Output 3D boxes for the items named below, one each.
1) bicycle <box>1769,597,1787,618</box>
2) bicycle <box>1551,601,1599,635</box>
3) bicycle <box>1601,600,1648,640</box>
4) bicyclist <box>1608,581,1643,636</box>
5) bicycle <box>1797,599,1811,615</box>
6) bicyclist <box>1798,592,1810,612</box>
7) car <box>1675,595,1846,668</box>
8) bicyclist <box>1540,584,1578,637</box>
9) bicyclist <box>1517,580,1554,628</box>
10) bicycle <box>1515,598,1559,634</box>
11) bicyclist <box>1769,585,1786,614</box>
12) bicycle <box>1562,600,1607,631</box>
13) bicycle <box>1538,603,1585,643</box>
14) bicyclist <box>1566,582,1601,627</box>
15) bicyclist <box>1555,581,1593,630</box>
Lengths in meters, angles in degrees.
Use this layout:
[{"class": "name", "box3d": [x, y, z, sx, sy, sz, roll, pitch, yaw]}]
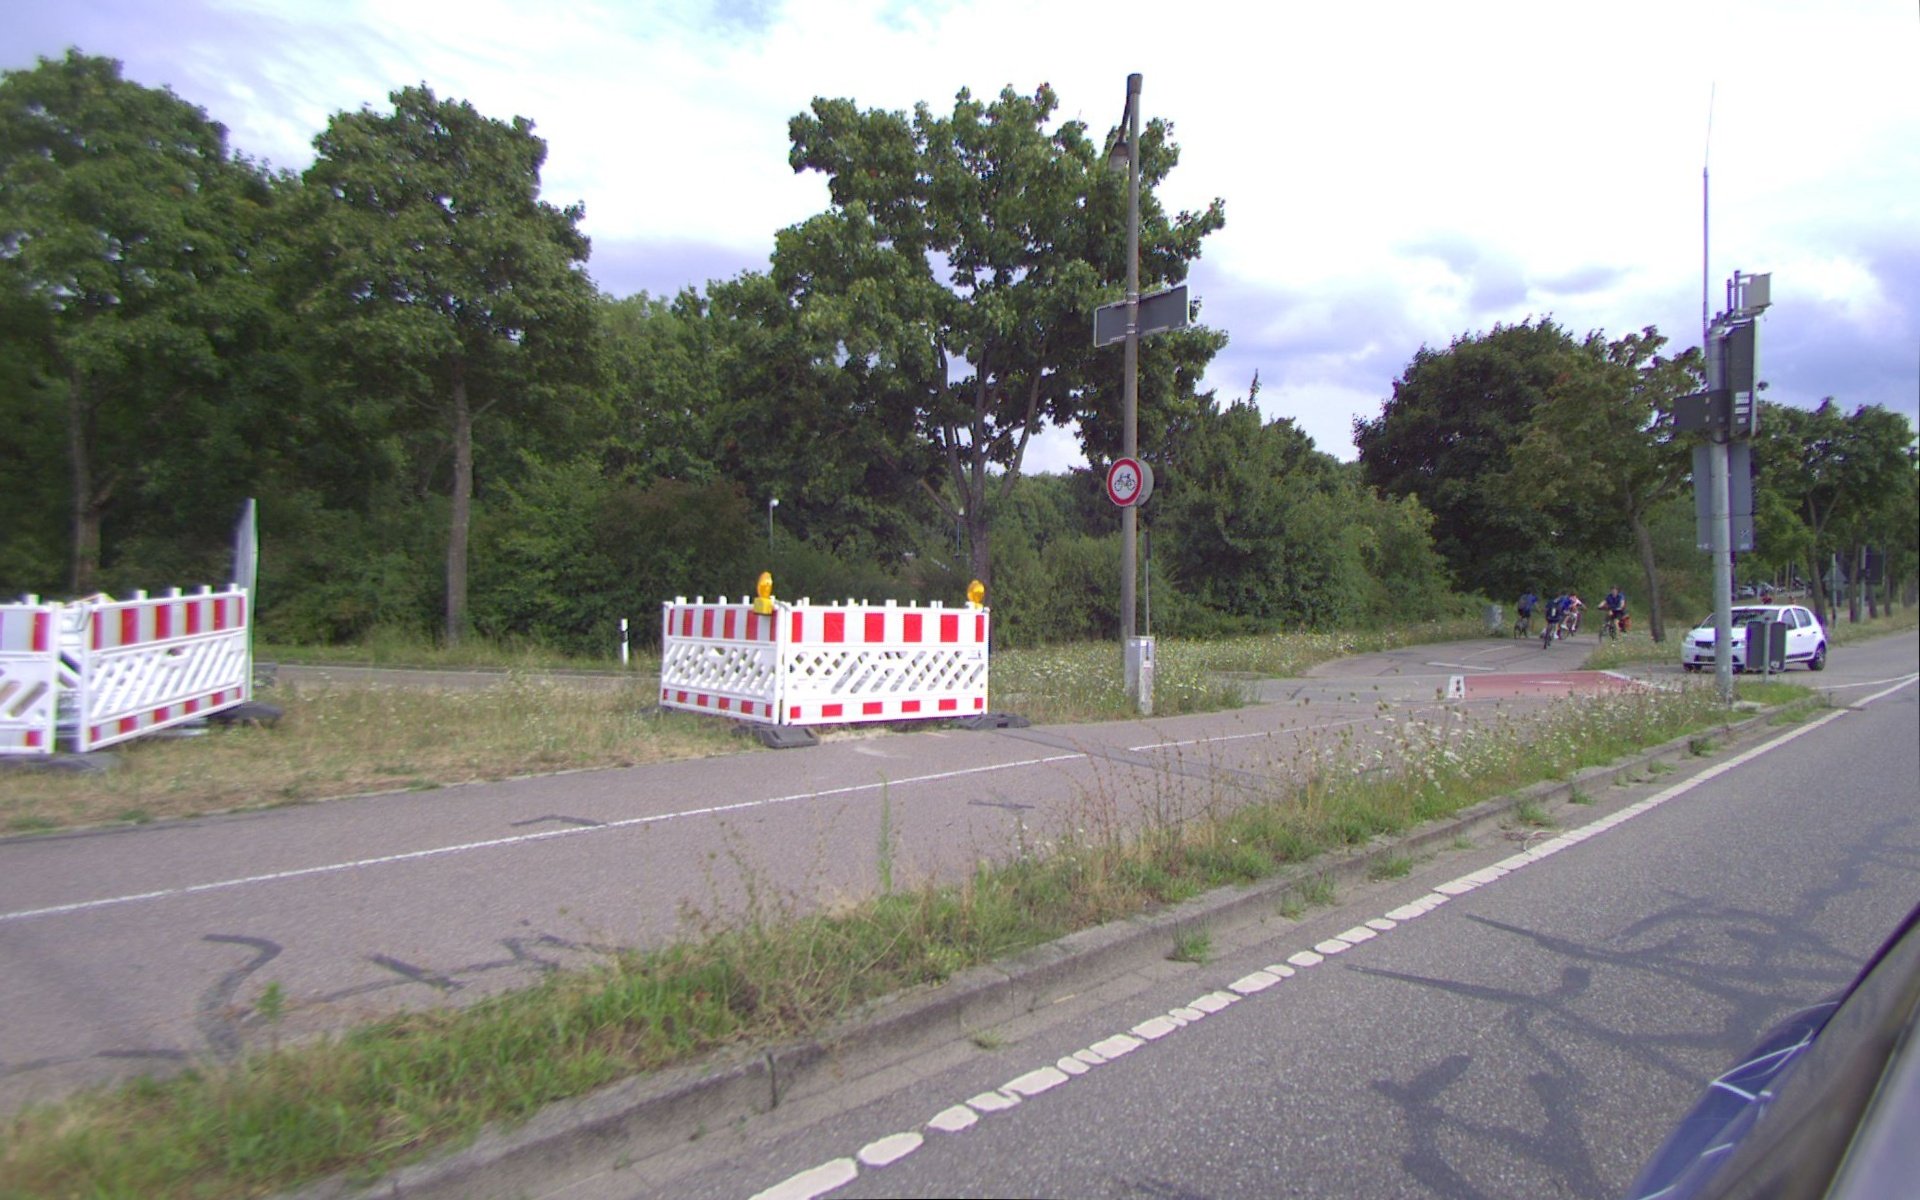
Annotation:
[{"class": "bicycle", "box3d": [47.048, 0.421, 58.192, 2.195, 1.162, 0.514, 0, 2, -44]}, {"class": "bicycle", "box3d": [19.633, 0.572, 32.295, 2.155, 1.049, 0.597, 1, 1, -38]}, {"class": "bicycle", "box3d": [20.447, 0.605, 31.140, 1.945, 1.162, 0.575, 1, 2, -38]}, {"class": "bicyclist", "box3d": [20.476, 0.248, 31.155, 0.860, 1.678, 0.653, 0, 0, -37]}, {"class": "bicycle", "box3d": [54.827, 0.448, 65.725, 1.753, 0.976, 0.514, 0, 2, -44]}, {"class": "bicyclist", "box3d": [54.843, 0.106, 65.749, 0.442, 1.298, 0.539, 0, 0, -44]}, {"class": "car", "box3d": [18.299, 0.677, 23.104, 3.922, 1.521, 1.854, 0, -1, -32]}, {"class": "bicyclist", "box3d": [17.685, 0.285, 29.883, 0.942, 1.537, 0.742, -1, 0, -43]}, {"class": "bicyclist", "box3d": [18.660, 0.117, 32.802, 0.941, 1.505, 0.743, 0, 0, -38]}, {"class": "bicycle", "box3d": [18.737, 0.507, 32.859, 1.756, 1.018, 0.621, -3, 5, -40]}, {"class": "bicyclist", "box3d": [46.994, -0.021, 58.166, 0.768, 1.678, 0.652, 0, 0, -44]}, {"class": "bicycle", "box3d": [21.408, 0.517, 34.677, 1.753, 1.018, 0.622, 0, 3, -35]}, {"class": "bicycle", "box3d": [17.802, 0.670, 29.939, 2.068, 1.018, 0.621, -3, 5, -44]}, {"class": "bicyclist", "box3d": [21.274, 0.139, 34.525, 0.790, 1.492, 0.743, 0, 0, -34]}, {"class": "bicyclist", "box3d": [19.596, 0.178, 32.284, 0.941, 1.537, 0.743, 0, 0, -38]}]
